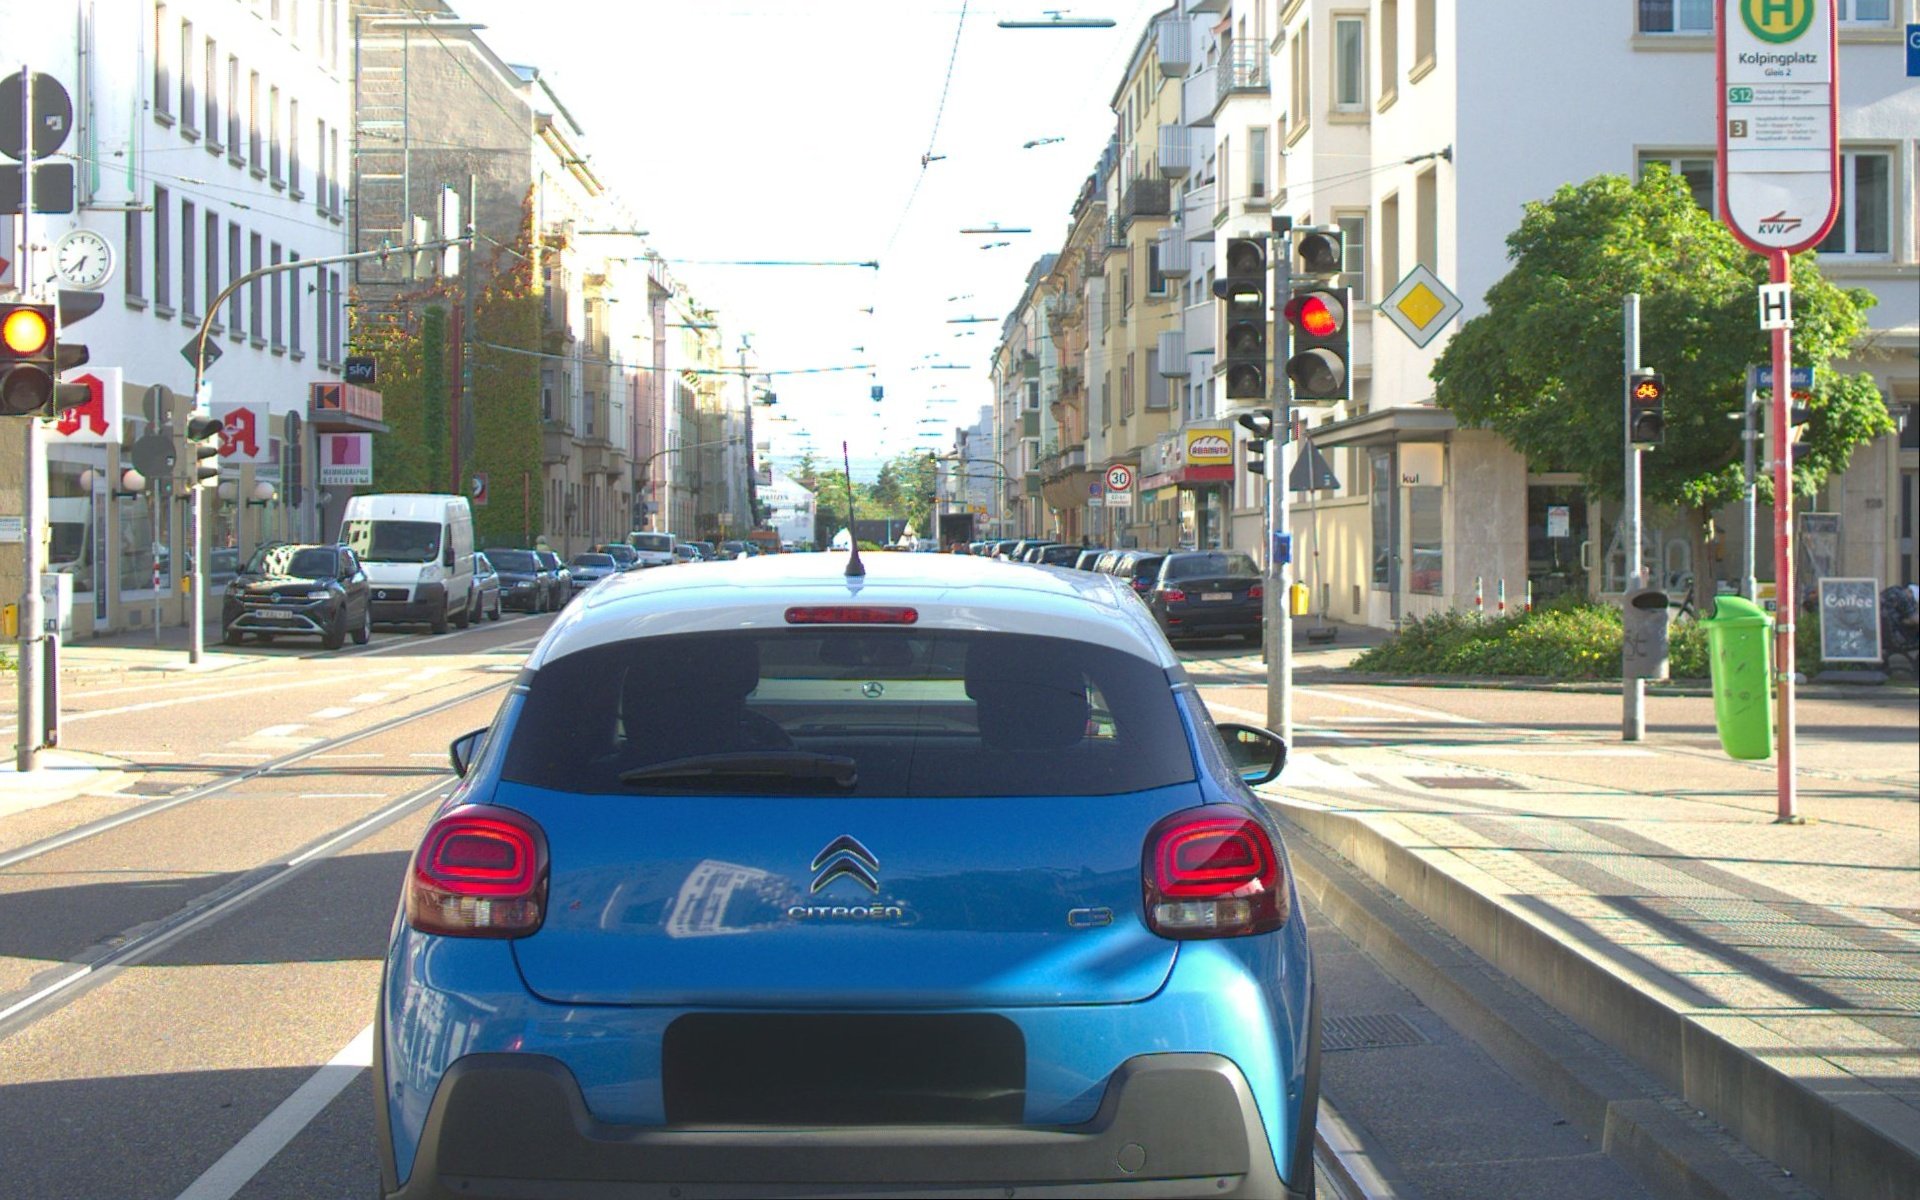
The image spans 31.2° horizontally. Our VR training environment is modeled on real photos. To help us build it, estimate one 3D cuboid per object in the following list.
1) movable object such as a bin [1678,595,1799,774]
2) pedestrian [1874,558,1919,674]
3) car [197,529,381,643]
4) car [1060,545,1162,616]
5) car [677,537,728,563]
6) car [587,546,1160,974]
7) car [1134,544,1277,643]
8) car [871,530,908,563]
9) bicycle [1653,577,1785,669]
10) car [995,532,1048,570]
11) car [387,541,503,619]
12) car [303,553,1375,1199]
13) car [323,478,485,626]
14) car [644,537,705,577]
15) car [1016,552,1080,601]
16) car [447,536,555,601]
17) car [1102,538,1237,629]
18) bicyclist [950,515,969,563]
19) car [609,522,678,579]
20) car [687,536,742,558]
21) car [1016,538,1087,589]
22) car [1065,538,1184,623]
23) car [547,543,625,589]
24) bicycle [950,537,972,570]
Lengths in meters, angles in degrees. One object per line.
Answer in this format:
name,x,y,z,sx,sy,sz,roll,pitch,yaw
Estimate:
movable object such as a bin,3.505,0.375,15.502,0.449,0.783,0.489,0,1,2
pedestrian,10.833,0.178,39.130,0.741,1.311,0.627,0,1,23
car,-10.175,-0.218,52.440,1.993,1.563,4.403,3,0,-2
car,3.198,-0.440,73.364,1.993,1.459,4.000,0,1,0
car,-11.477,-2.234,153.537,1.993,1.152,4.000,0,1,0
car,-0.337,0.525,14.453,1.984,1.459,4.816,1,1,-1
car,3.710,-0.130,52.524,1.909,1.459,4.000,0,1,0
car,-3.815,-2.907,186.195,1.993,1.766,4.000,0,1,-1
bicycle,9.411,0.282,42.641,1.568,1.117,0.300,1,0,11
car,2.368,-1.892,133.227,1.993,1.459,4.000,0,1,0
car,-10.379,-0.409,69.548,1.888,1.491,3.562,1,0,-2
car,-0.226,0.656,7.512,1.728,1.477,3.827,1,1,-1
car,-10.085,-0.882,62.794,2.085,2.533,6.206,1,1,-2
car,-11.317,-1.690,136.655,1.955,1.547,3.938,1,0,2
car,2.807,-0.760,109.644,1.993,1.546,4.000,0,1,2
car,-10.414,-0.714,78.166,1.993,1.393,4.157,1,0,-2
car,3.438,-0.297,57.056,1.993,1.459,4.000,0,1,0
bicyclist,-0.024,-2.615,147.338,0.809,2.007,0.922,1,0,-1
car,-11.649,-1.809,126.853,2.006,2.007,4.689,1,0,1
car,-13.181,-2.832,184.849,1.994,1.152,4.513,0,1,9
car,2.702,-1.093,102.110,1.993,1.459,4.504,0,1,0
car,2.974,-0.378,62.956,1.993,1.496,4.000,0,1,0
car,-11.205,-1.019,103.227,1.993,1.320,3.923,1,0,-2
bicycle,0.018,-2.012,147.398,0.920,1.384,3.132,0,1,0
